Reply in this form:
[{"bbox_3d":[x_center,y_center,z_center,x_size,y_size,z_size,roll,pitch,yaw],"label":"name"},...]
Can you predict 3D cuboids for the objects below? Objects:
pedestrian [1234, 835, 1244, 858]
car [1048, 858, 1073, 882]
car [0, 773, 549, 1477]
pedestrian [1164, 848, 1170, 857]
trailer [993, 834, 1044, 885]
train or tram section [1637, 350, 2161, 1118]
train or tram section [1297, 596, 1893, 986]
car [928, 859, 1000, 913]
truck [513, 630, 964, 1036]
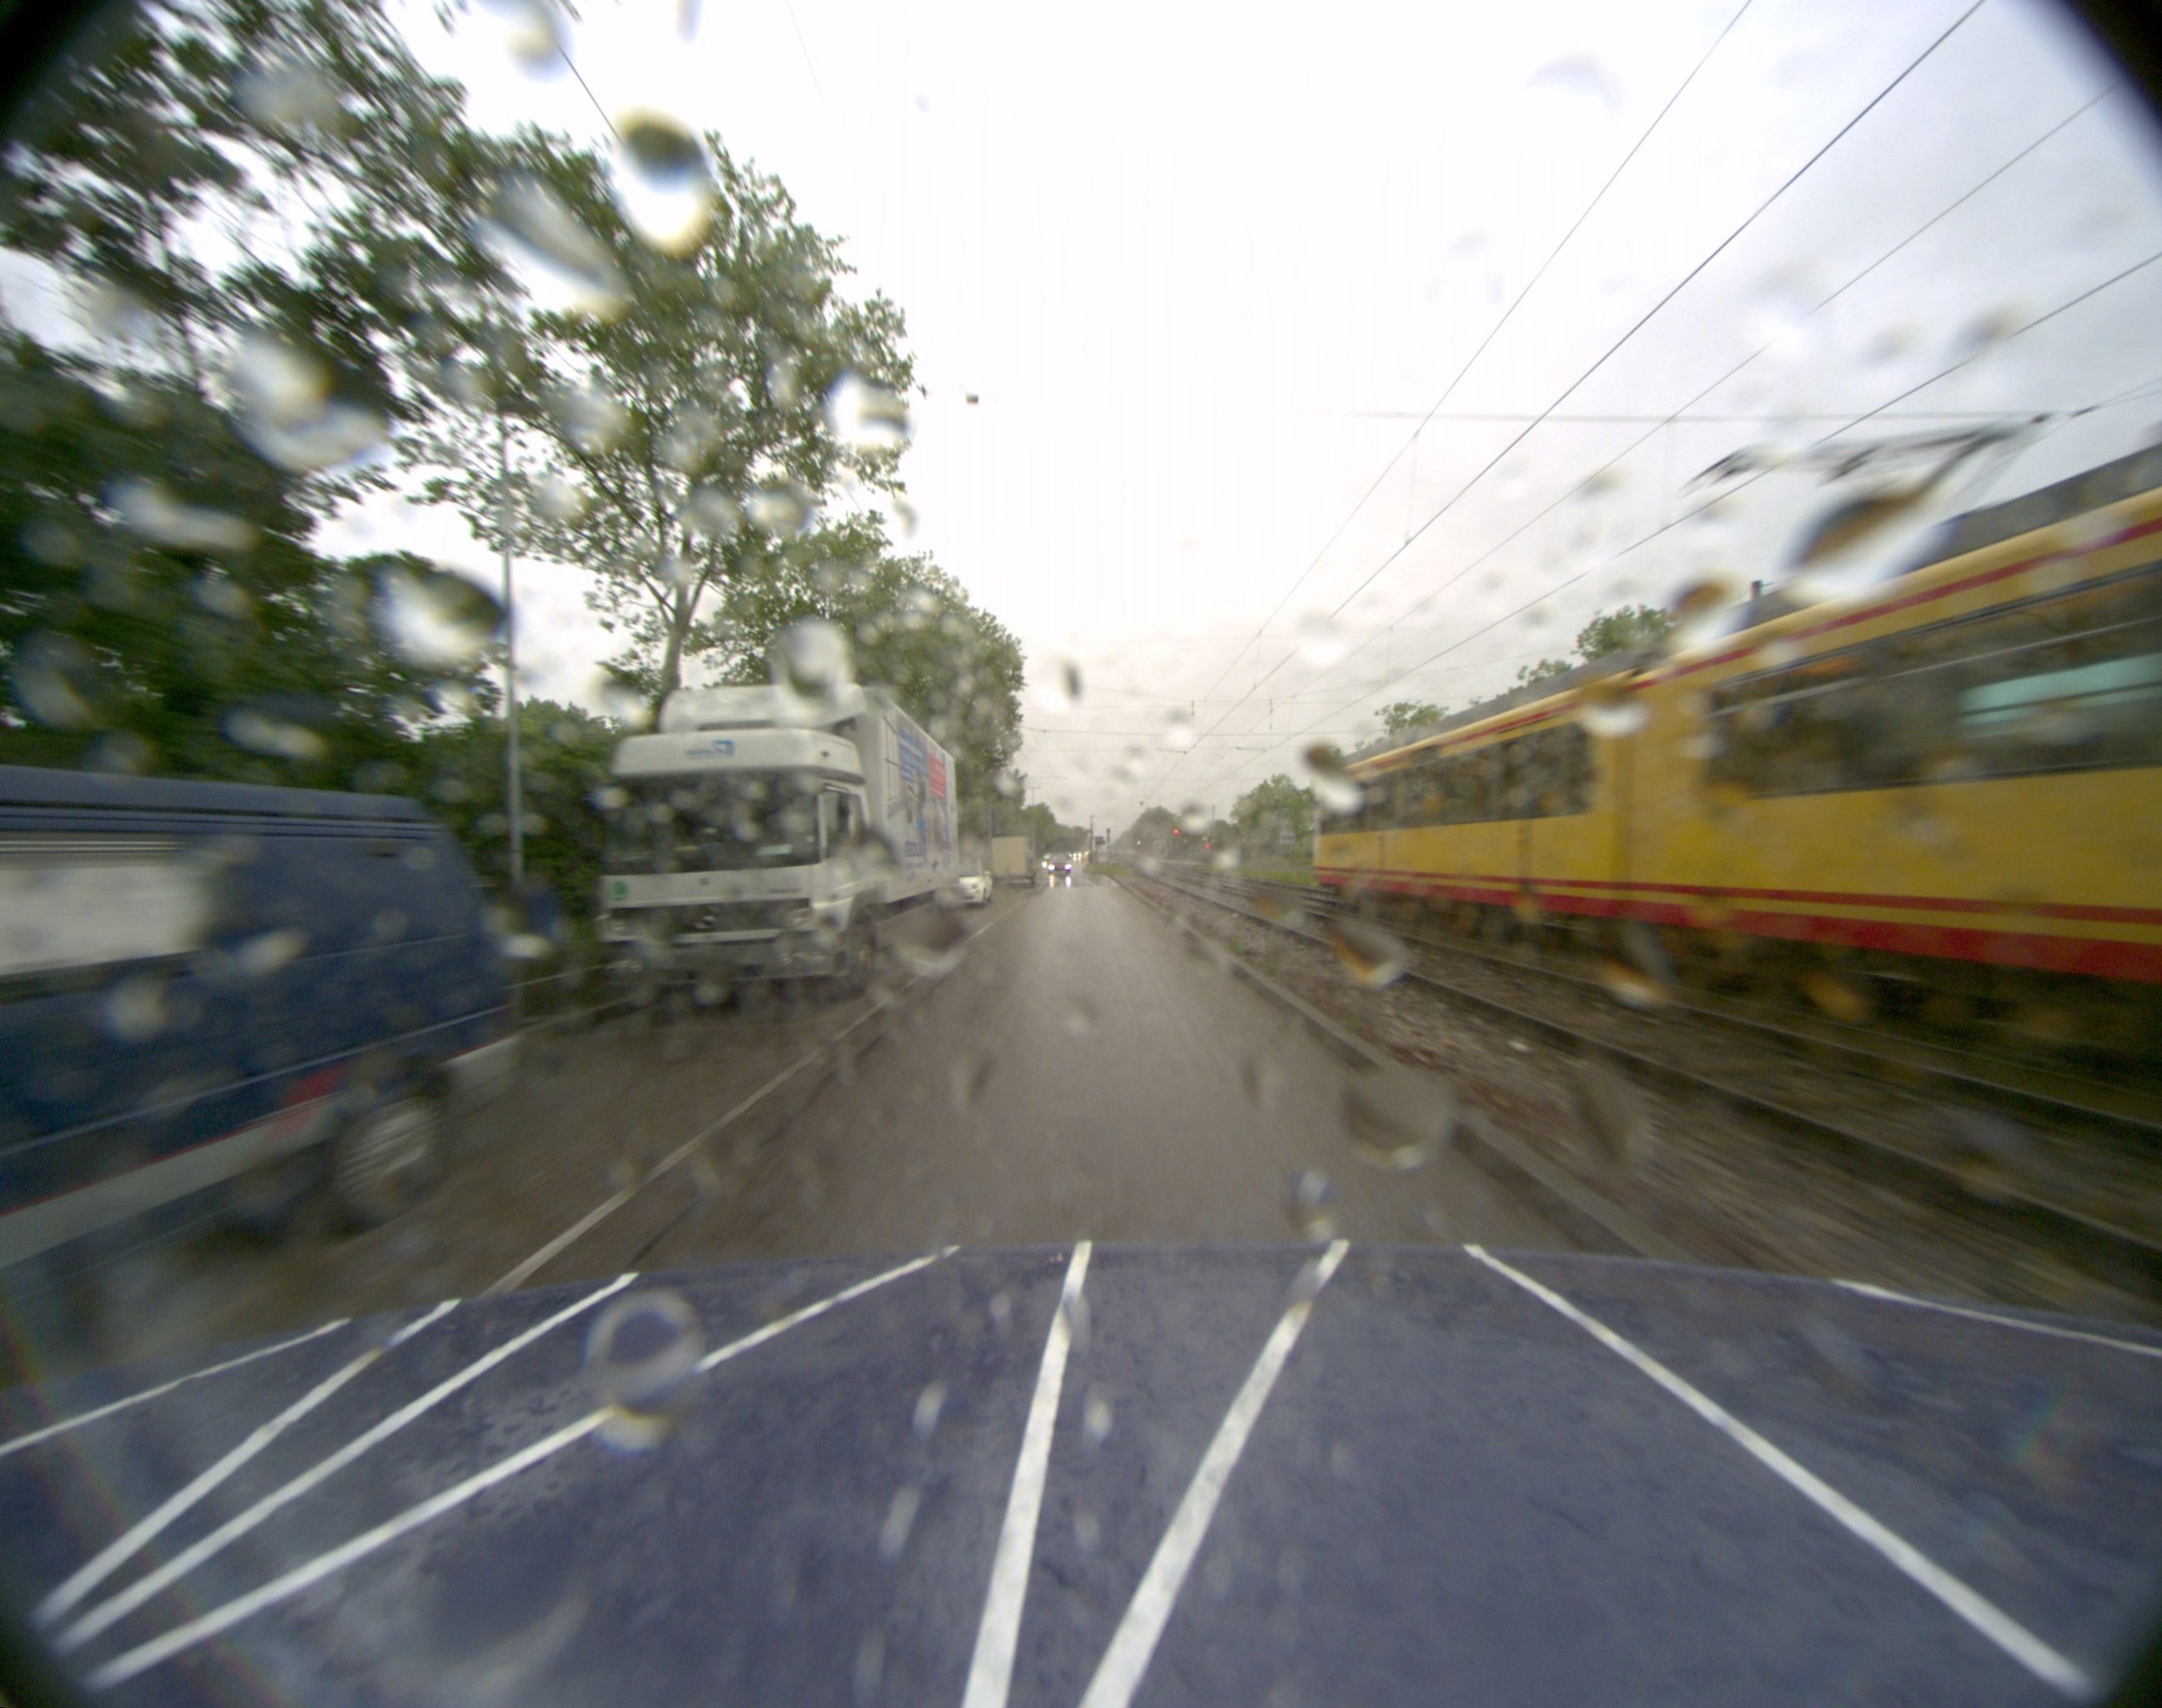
[{"bbox_3d":[27.616,-1.315,132.975,1.169,4.006,1.522,-1,2,29],"label":"pedestrian"},{"bbox_3d":[-1.778,1.360,67.174,1.998,2.002,4.000,-1,1,2],"label":"car"},{"bbox_3d":[-4.042,0.806,1.847,1.881,2.002,4.979,-2,0,0],"label":"car"},{"bbox_3d":[13.459,-0.267,118.791,0.833,1.309,0.858,-2,1,1],"label":"pedestrian"},{"bbox_3d":[-3.579,0.247,44.480,2.171,2.742,5.676,-1,1,3],"label":"trailer"},{"bbox_3d":[7.211,-0.630,1.453,2.813,4.126,13.017,-1,1,0],"label":"train or tram section"},{"bbox_3d":[7.399,-0.717,14.691,2.813,4.125,13.018,-1,0,1],"label":"train or tram section"},{"bbox_3d":[-3.848,1.007,25.522,1.718,1.520,3.999,-4,1,0],"label":"car"},{"bbox_3d":[-3.889,-0.280,11.943,2.783,3.683,9.848,-1,1,-2],"label":"truck"}]
